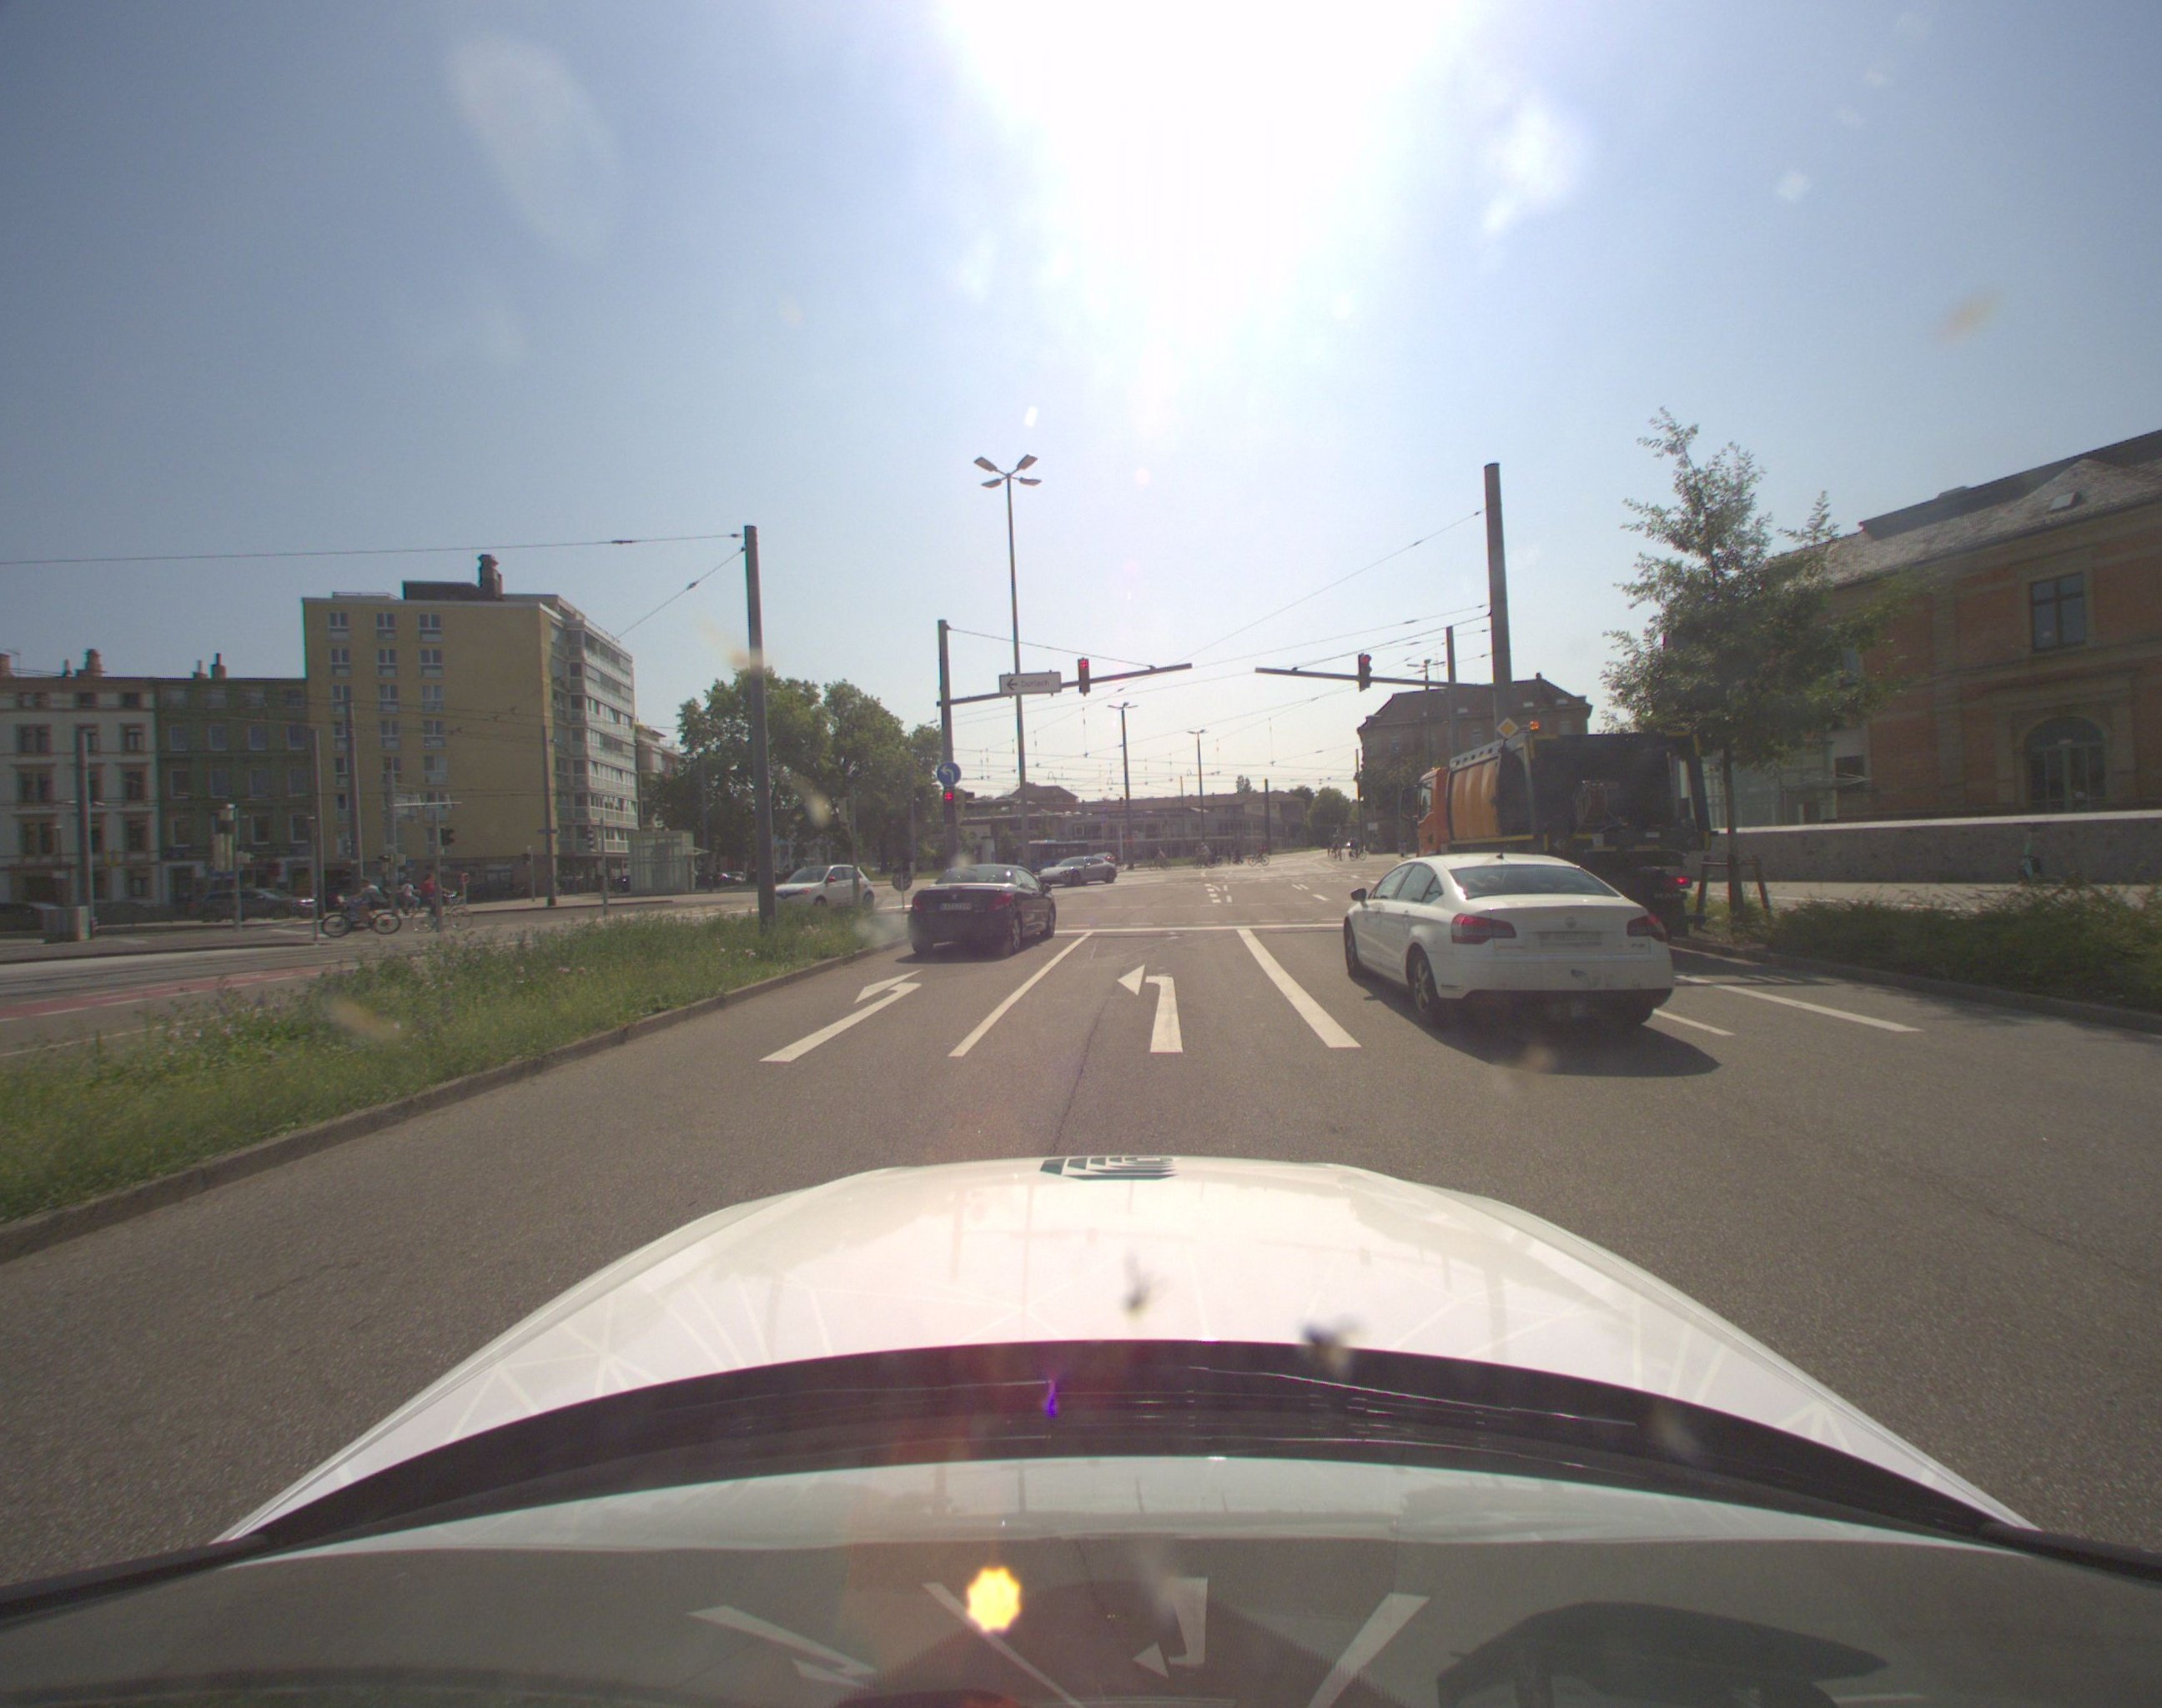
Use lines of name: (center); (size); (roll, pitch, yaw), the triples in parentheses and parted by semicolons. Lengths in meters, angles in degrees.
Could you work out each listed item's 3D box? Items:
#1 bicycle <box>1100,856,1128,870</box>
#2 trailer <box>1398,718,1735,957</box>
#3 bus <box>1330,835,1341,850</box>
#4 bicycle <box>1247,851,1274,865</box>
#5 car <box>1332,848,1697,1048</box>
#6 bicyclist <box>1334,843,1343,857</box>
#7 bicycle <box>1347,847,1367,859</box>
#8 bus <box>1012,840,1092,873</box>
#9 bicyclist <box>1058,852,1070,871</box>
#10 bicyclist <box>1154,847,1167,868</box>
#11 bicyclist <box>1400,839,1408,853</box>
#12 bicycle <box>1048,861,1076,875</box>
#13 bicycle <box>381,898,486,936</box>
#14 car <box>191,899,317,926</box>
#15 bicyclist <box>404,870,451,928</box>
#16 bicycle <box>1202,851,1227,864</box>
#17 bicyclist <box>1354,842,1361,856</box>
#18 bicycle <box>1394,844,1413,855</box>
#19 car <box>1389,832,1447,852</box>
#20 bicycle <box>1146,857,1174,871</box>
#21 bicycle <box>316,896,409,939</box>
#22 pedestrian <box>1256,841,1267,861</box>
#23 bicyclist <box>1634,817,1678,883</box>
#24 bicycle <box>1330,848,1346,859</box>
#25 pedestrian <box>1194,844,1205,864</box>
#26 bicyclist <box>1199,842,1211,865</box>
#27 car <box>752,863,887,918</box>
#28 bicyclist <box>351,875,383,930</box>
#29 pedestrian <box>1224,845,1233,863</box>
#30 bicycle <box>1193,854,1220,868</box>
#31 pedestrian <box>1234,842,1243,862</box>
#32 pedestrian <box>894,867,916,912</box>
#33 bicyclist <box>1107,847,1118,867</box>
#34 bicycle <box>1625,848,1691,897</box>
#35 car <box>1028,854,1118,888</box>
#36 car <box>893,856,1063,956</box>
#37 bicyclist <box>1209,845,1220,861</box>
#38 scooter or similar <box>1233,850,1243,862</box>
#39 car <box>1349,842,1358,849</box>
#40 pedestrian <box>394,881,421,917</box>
bicycle: (2.803, 0.751, 69.282); (2.197, 1.087, 0.760); (-3, 0, -10)
trailer: (7.391, -0.207, 13.536); (2.449, 3.007, 6.338); (-1, 0, 7)
bus: (63.238, -2.927, 202.351); (2.541, 3.505, 7.837); (-3, 0, 18)
bicycle: (14.327, 0.346, 64.885); (1.959, 1.018, 0.719); (-3, 0, 28)
car: (3.880, 0.697, 8.251); (1.748, 1.455, 4.434); (-2, 0, 7)
bicyclist: (23.400, -0.361, 74.022); (0.599, 1.247, 0.501); (-2, 0, -37)
bicycle: (24.214, -0.106, 71.397); (1.577, 0.985, 0.510); (-3, 0, 22)
bus: (-2.631, 0.118, 79.809); (3.027, 2.931, 11.918); (-3, 0, 22)
bicyclist: (-1.420, 0.617, 68.486); (0.799, 1.541, 0.759); (-2, 0, -13)
bicyclist: (6.117, 0.270, 62.527); (0.666, 1.509, 0.710); (-2, 0, -20)
bicyclist: (29.144, -0.737, 73.464); (0.588, 1.247, 0.510); (-3, 0, 26)
bicycle: (-1.570, 1.143, 68.446); (2.199, 1.087, 0.759); (-3, 0, -13)
bicycle: (-19.379, 1.876, 24.404); (2.411, 0.953, 0.601); (-3, -1, -12)
car: (-40.177, 2.835, 39.676); (3.891, 0.987, 1.706); (-3, 0, -17)
bicyclist: (-19.550, 1.339, 24.372); (0.839, 1.642, 0.604); (-3, 0, -12)
bicycle: (11.419, 0.339, 69.520); (1.984, 1.018, 0.710); (-2, 0, -19)
bicyclist: (24.238, -0.460, 71.389); (0.499, 1.188, 0.510); (-3, 0, 22)
bicycle: (29.093, -0.397, 73.488); (1.576, 0.985, 0.510); (-3, 0, 26)
car: (26.781, -0.970, 64.760); (3.888, 1.420, 1.731); (-3, 0, -5)
bicycle: (6.034, 0.774, 62.486); (1.985, 1.018, 0.710); (-2, 0, -21)
bicycle: (-22.139, 1.941, 25.122); (0.690, 1.137, 2.056); (-3, 0, 42)
pedestrian: (14.389, -0.220, 64.839); (0.656, 1.534, 0.719); (-3, 0, 28)
bicyclist: (13.474, -0.085, 19.100); (0.544, 1.496, 0.807); (-3, -1, 14)
bicycle: (23.395, -0.066, 74.003); (1.603, 0.985, 0.501); (-2, 0, -37)
pedestrian: (10.564, -0.008, 72.698); (0.776, 1.752, 0.813); (-3, 0, 21)
bicyclist: (9.642, -0.045, 63.229); (0.703, 1.764, 0.713); (-2, 0, -5)
car: (-7.966, 1.071, 25.246); (1.755, 1.425, 4.088); (-3, 0, 21)
bicyclist: (-22.098, 1.488, 25.193); (0.684, 1.650, 0.623); (-3, -1, 42)
pedestrian: (13.330, 0.017, 73.455); (0.632, 1.561, 0.748); (-2, 0, 4)
bicycle: (9.739, 0.516, 63.236); (1.975, 1.018, 0.713); (-3, 0, -5)
pedestrian: (14.048, -0.146, 72.670); (0.619, 1.752, 0.629); (-2, 0, 4)
pedestrian: (-5.265, 1.055, 24.347); (0.596, 1.268, 0.503); (-3, 2, -13)
bicyclist: (2.691, 0.269, 69.265); (0.761, 1.634, 0.760); (-2, 0, -9)
bicycle: (13.511, 0.413, 19.123); (0.552, 1.060, 2.012); (-3, 0, 15)
car: (-0.323, 0.814, 39.932); (1.921, 1.400, 4.616); (-3, 0, 37)
car: (-1.596, 0.787, 14.064); (1.747, 1.404, 3.992); (-2, 0, 10)
bicyclist: (11.410, -0.089, 69.524); (0.670, 1.350, 0.707); (-2, 0, -19)
scooter or similar: (14.158, 0.172, 73.463); (0.832, 0.974, 0.794); (-3, 0, 4)
car: (67.575, -2.133, 202.015); (1.978, 1.483, 4.018); (-3, 0, 17)
pedestrian: (-32.707, 2.177, 39.571); (0.649, 1.633, 0.811); (-3, -1, -11)
